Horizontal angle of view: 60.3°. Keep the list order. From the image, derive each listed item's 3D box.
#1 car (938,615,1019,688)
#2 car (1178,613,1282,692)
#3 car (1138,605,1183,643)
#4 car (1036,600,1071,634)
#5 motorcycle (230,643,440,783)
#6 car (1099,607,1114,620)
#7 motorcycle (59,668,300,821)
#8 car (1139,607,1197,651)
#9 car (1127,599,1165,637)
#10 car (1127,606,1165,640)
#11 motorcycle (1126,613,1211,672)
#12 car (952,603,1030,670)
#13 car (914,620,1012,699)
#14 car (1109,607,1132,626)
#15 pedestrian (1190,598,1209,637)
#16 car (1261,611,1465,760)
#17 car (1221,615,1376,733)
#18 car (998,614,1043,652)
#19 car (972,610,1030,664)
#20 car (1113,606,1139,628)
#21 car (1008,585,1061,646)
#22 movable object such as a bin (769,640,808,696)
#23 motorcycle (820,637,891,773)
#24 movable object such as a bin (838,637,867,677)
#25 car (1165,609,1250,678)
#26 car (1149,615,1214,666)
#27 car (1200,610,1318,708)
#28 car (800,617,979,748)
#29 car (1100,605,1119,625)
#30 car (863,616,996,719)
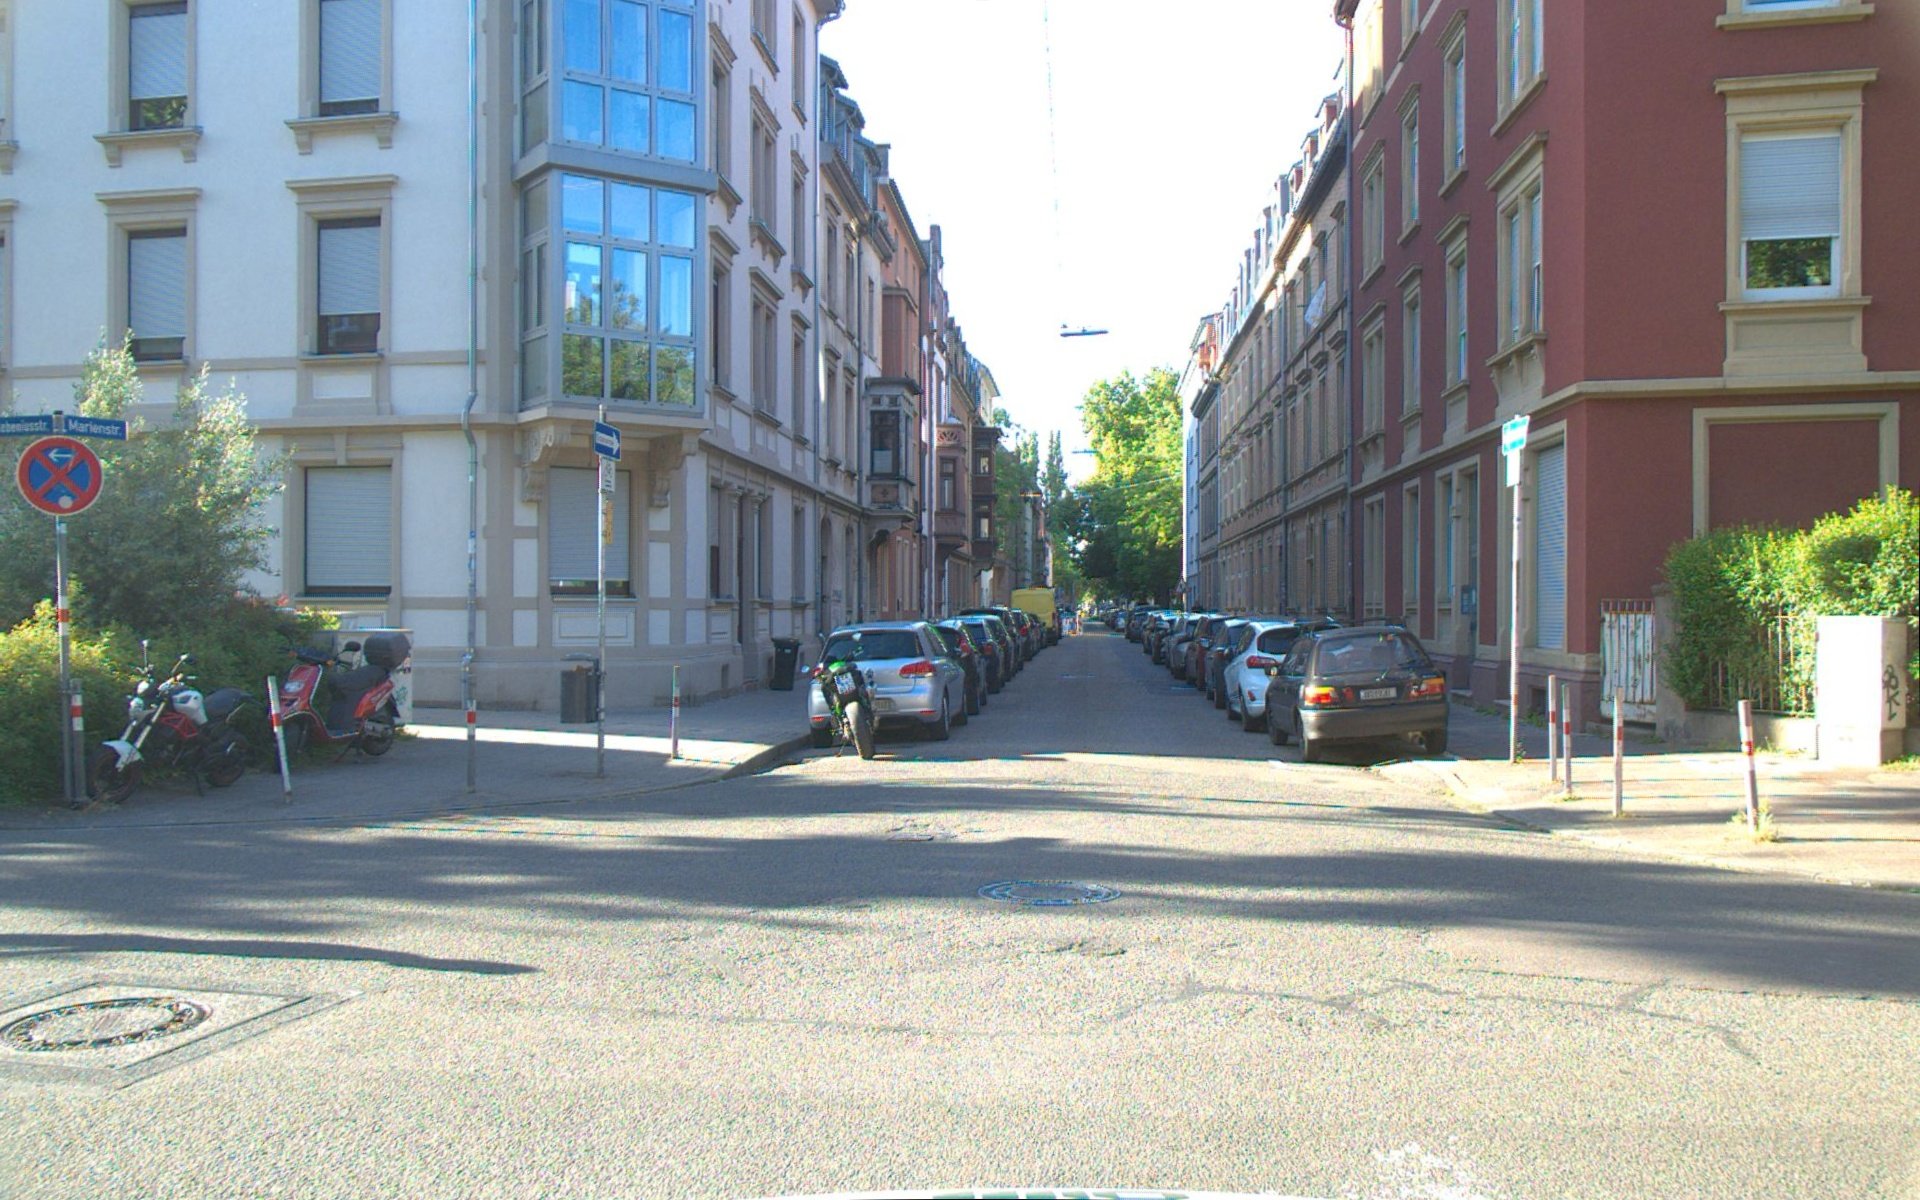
[{"bbox_3d":[0.472,1.135,37.782,1.608,1.481,3.841,-3,0,3],"label":"car"},{"bbox_3d":[5.516,1.033,34.176,1.624,1.505,4.026,0,0,2],"label":"car"},{"bbox_3d":[9.227,1.067,76.366,1.717,1.544,4.445,-4,0,3],"label":"car"},{"bbox_3d":[5.008,0.915,89.289,1.781,1.797,4.336,0,0,2],"label":"car"},{"bbox_3d":[-5.865,1.025,15.664,0.599,1.217,2.043,0,-1,24],"label":"motorcycle"},{"bbox_3d":[20.401,1.929,230.807,1.951,1.758,4.002,-1,0,4],"label":"car"},{"bbox_3d":[-6.281,1.125,13.435,0.626,1.109,1.870,0,-1,19],"label":"motorcycle"},{"bbox_3d":[7.612,1.045,60.823,1.717,1.471,4.070,-3,-1,3],"label":"car"},{"bbox_3d":[9.833,0.928,87.686,1.717,1.817,4.726,-3,0,4],"label":"car"},{"bbox_3d":[9.224,1.125,82.276,1.717,1.478,4.290,-4,0,6],"label":"car"},{"bbox_3d":[5.876,1.203,46.693,2.188,1.563,0.884,2,0,-22],"label":"motorcycle"},{"bbox_3d":[0.845,0.898,42.958,1.724,1.646,4.191,0,0,5],"label":"car"},{"bbox_3d":[0.123,1.124,32.683,1.744,1.428,3.744,0,0,3],"label":"car"},{"bbox_3d":[13.843,1.406,142.956,1.854,1.654,4.002,0,-1,4],"label":"car"},{"bbox_3d":[10.429,0.747,71.947,0.640,1.659,0.880,-2,-1,0],"label":"pedestrian"},{"bbox_3d":[4.487,0.888,18.893,1.633,1.509,3.708,0,0,3],"label":"car"},{"bbox_3d":[4.694,0.972,23.413,1.669,1.488,3.972,0,0,4],"label":"car"},{"bbox_3d":[2.343,1.244,63.343,1.584,1.350,3.614,-3,0,4],"label":"car"},{"bbox_3d":[1.346,1.140,52.723,1.744,1.634,4.071,0,0,3],"label":"car"},{"bbox_3d":[12.204,1.250,121.725,1.688,1.549,4.001,-1,0,2],"label":"car"},{"bbox_3d":[3.418,0.664,74.704,2.129,2.551,5.881,-2,0,4],"label":"car"},{"bbox_3d":[-3.096,1.228,29.897,0.608,0.972,0.511,1,-1,4],"label":"movable object such as a bin"},{"bbox_3d":[-1.143,1.129,18.420,0.663,1.357,1.999,-3,0,-2],"label":"motorcycle"},{"bbox_3d":[-2.550,1.348,39.256,0.599,0.936,0.734,0,-1,4],"label":"movable object such as a bin"},{"bbox_3d":[5.827,0.982,39.268,1.725,1.510,4.404,0,0,5],"label":"car"},{"bbox_3d":[6.631,1.176,49.800,1.740,1.421,4.320,0,0,5],"label":"car"},{"bbox_3d":[5.114,0.963,28.701,1.641,1.529,4.071,0,0,5],"label":"car"},{"bbox_3d":[-0.831,1.002,21.709,1.743,1.509,3.935,0,0,7],"label":"car"},{"bbox_3d":[17.453,1.718,193.247,2.115,2.295,4.527,0,-1,3],"label":"car"},{"bbox_3d":[-0.414,1.019,26.557,1.743,1.509,3.745,0,0,5],"label":"car"}]
